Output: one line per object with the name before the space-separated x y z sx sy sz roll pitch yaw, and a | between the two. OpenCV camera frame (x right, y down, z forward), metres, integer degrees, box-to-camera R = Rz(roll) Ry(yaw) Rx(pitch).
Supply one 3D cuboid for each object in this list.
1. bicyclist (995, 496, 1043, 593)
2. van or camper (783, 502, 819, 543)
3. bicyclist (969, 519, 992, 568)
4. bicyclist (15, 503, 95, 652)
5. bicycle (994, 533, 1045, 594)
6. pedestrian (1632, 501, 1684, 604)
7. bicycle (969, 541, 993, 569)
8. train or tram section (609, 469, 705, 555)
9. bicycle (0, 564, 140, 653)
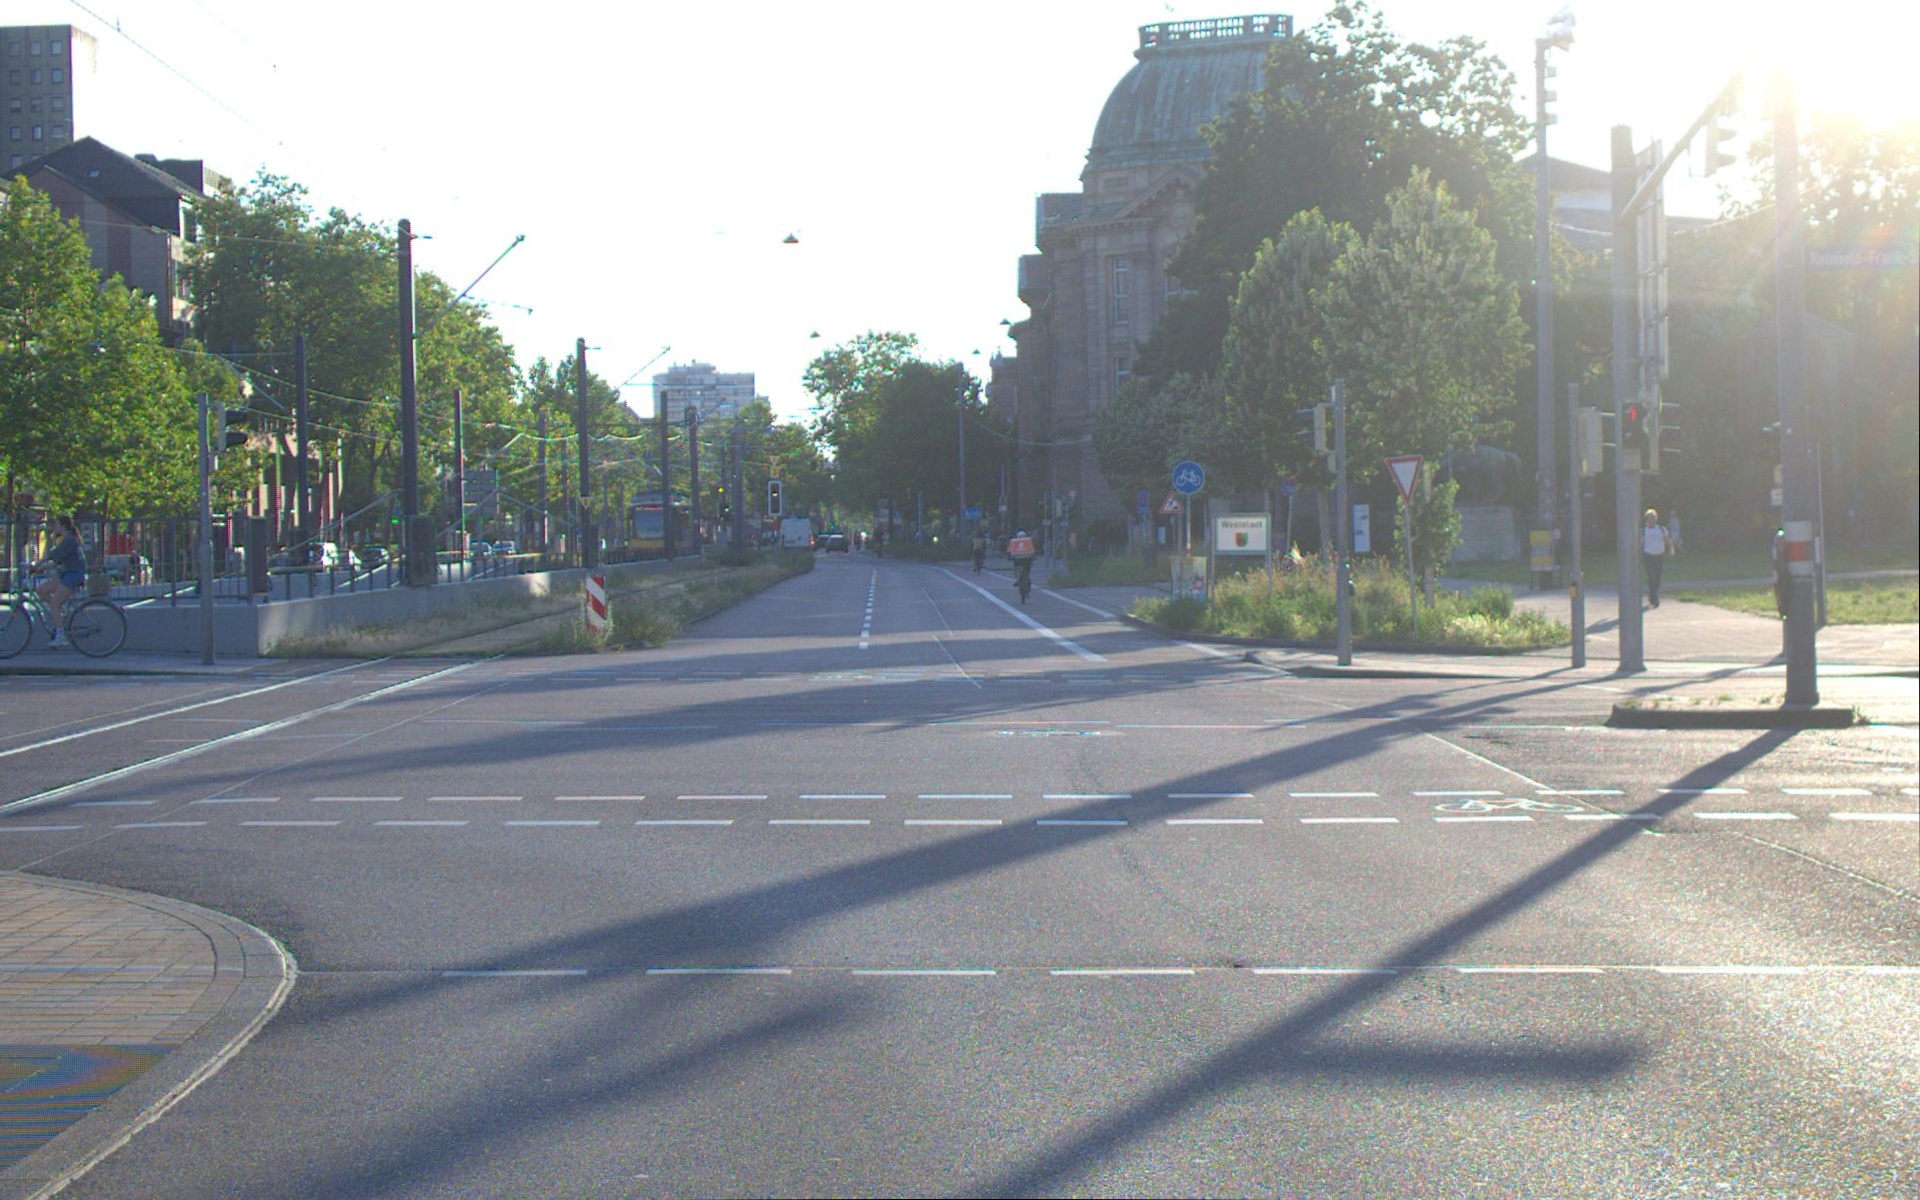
bicyclist | 1.397 -1.321 81.454 1.082 2.268 0.986 0 1 -1
van or camper | -10.925 -5.324 236.581 2.449 2.761 5.601 -1 1 -2
bicyclist | 0.831 -2.306 140.521 0.925 2.007 0.850 -1 1 -1
bicyclist | -11.136 -0.285 42.315 0.876 1.812 0.538 -1 1 -9
bicycle | 1.399 -0.871 81.514 1.098 1.394 2.832 -1 1 -1
pedestrian | 12.351 -0.845 60.782 0.833 1.797 0.810 -1 1 15
bicycle | 0.857 -1.845 140.554 0.924 1.108 2.333 -1 1 -1
train or tram section | -14.668 -4.343 166.843 4.385 3.836 11.413 -1 3 -5
bicycle | -11.231 0.106 42.321 2.163 1.080 0.539 0 0 -9
